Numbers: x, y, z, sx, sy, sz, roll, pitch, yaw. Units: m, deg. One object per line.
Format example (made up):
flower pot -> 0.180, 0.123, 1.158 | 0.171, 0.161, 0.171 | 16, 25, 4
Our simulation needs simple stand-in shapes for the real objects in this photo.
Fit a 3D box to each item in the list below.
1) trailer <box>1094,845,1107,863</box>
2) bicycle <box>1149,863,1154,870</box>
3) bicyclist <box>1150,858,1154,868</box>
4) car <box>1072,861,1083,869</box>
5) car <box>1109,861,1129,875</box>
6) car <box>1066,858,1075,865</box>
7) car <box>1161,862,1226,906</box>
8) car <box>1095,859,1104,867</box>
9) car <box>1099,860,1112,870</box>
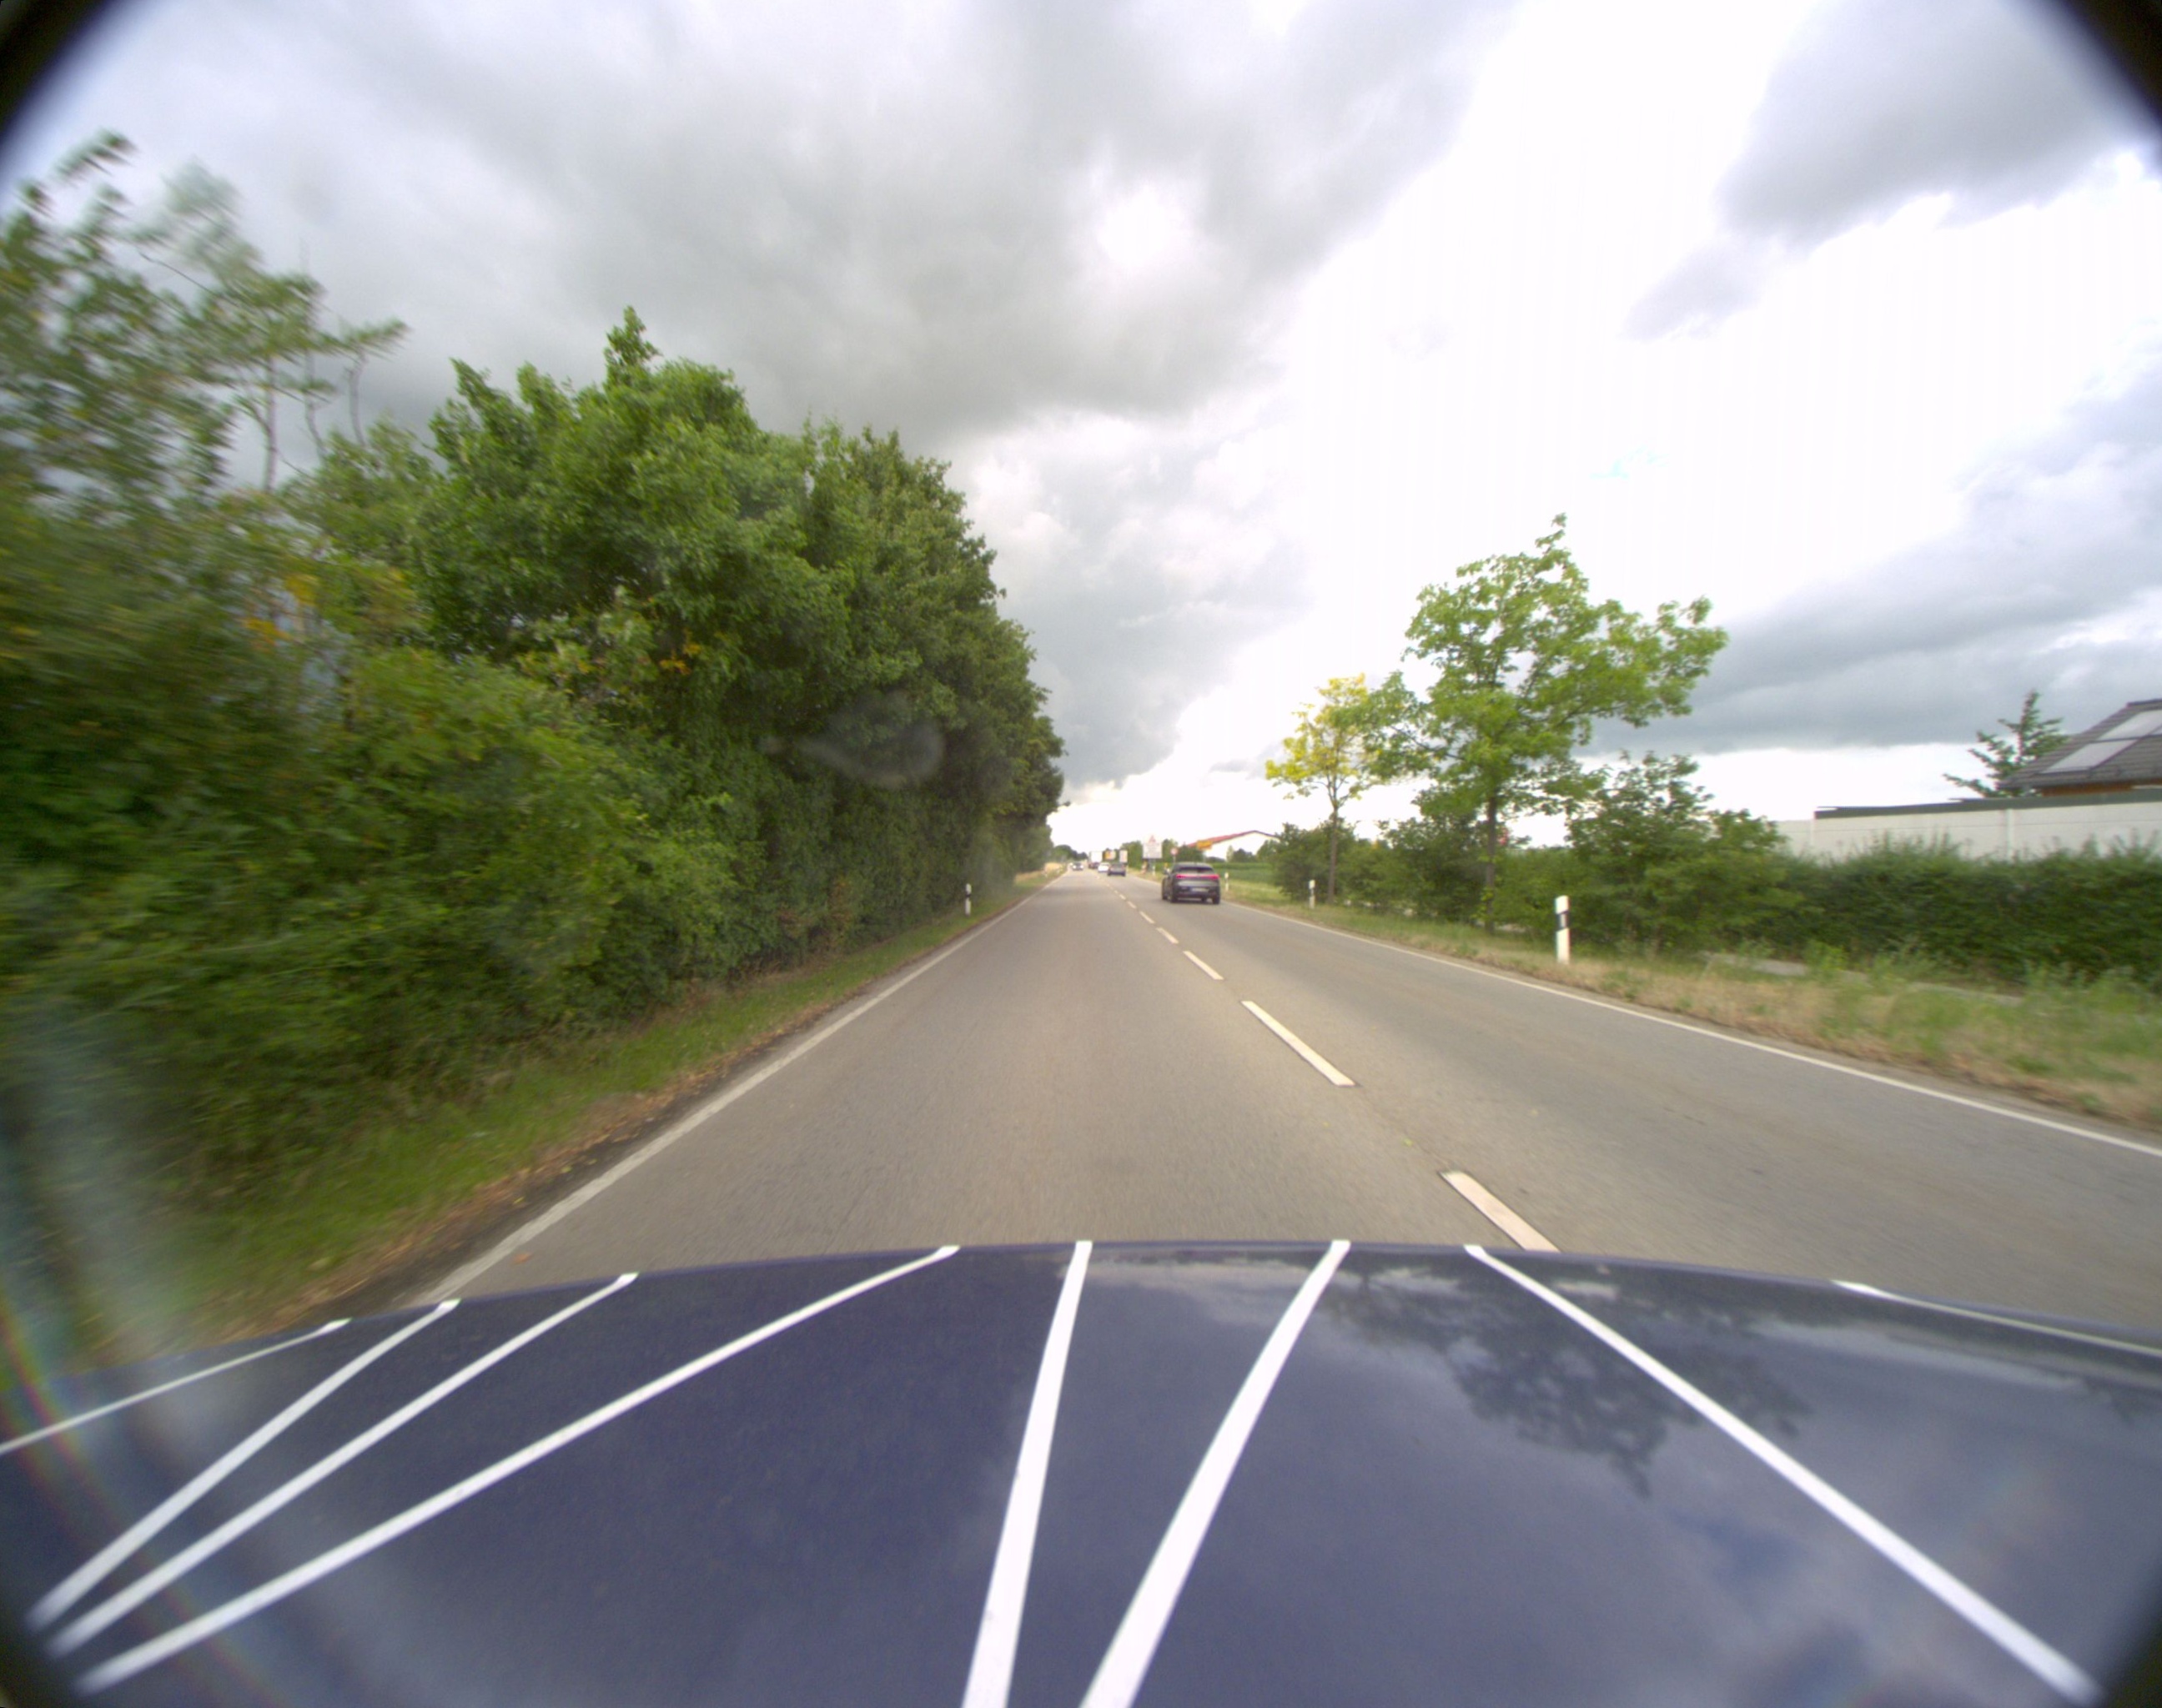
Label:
trailer -> 4.601, 0.097, 179.918 | 2.641, 4.096, 13.766 | 0, 0, 0
bicycle -> 10.852, 1.902, 116.288 | 0.530, 1.149, 1.794 | 2, 0, 0
bicyclist -> 10.861, 1.410, 116.356 | 0.530, 1.575, 1.223 | 2, 0, -1
car -> -0.611, 1.977, 136.313 | 1.869, 1.352, 3.826 | 0, 0, 0
car -> 4.122, 1.538, 82.990 | 1.857, 1.456, 4.370 | 1, 0, 0
car -> -2.372, 1.726, 173.740 | 1.777, 1.407, 4.079 | 2, 0, 0
car -> 4.195, 1.085, 29.028 | 1.820, 1.485, 4.204 | 1, 0, 0
car -> 3.847, 1.825, 159.732 | 1.733, 1.577, 4.504 | 1, 0, 0
car -> 3.551, 1.633, 110.920 | 1.777, 1.365, 4.100 | 2, 0, 0
